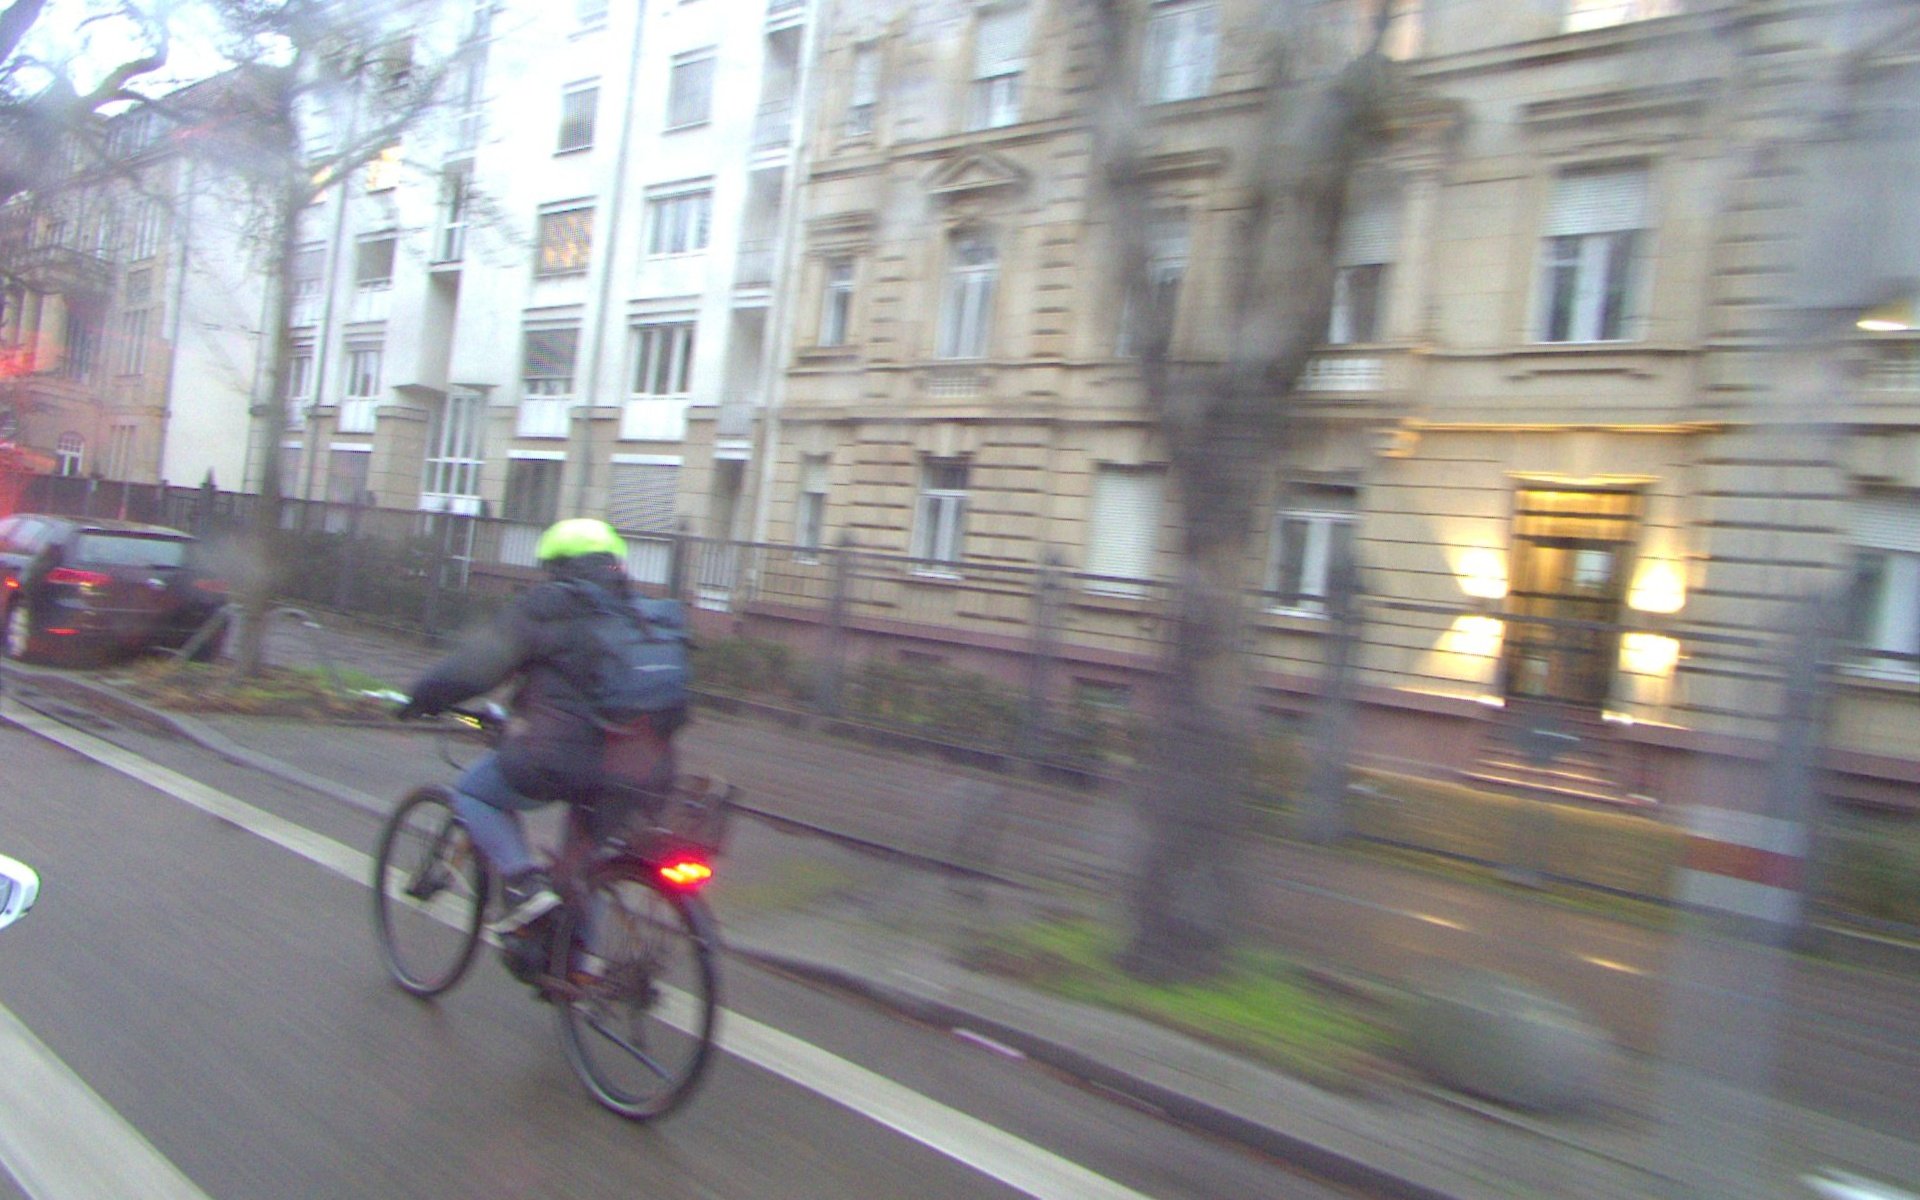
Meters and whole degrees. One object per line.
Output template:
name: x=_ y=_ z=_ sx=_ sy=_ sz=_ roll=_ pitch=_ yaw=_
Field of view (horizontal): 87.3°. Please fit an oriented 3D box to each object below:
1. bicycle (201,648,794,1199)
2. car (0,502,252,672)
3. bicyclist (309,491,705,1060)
bicycle: x=-1.560 y=0.851 z=3.207 sx=1.997 sy=1.110 sz=0.707 roll=8 pitch=1 yaw=35
car: x=-9.832 y=-0.223 z=11.152 sx=3.974 sy=1.478 sz=1.680 roll=7 pitch=0 yaw=31
bicyclist: x=-1.411 y=0.463 z=3.138 sx=0.836 sy=1.464 sz=0.656 roll=8 pitch=1 yaw=35
